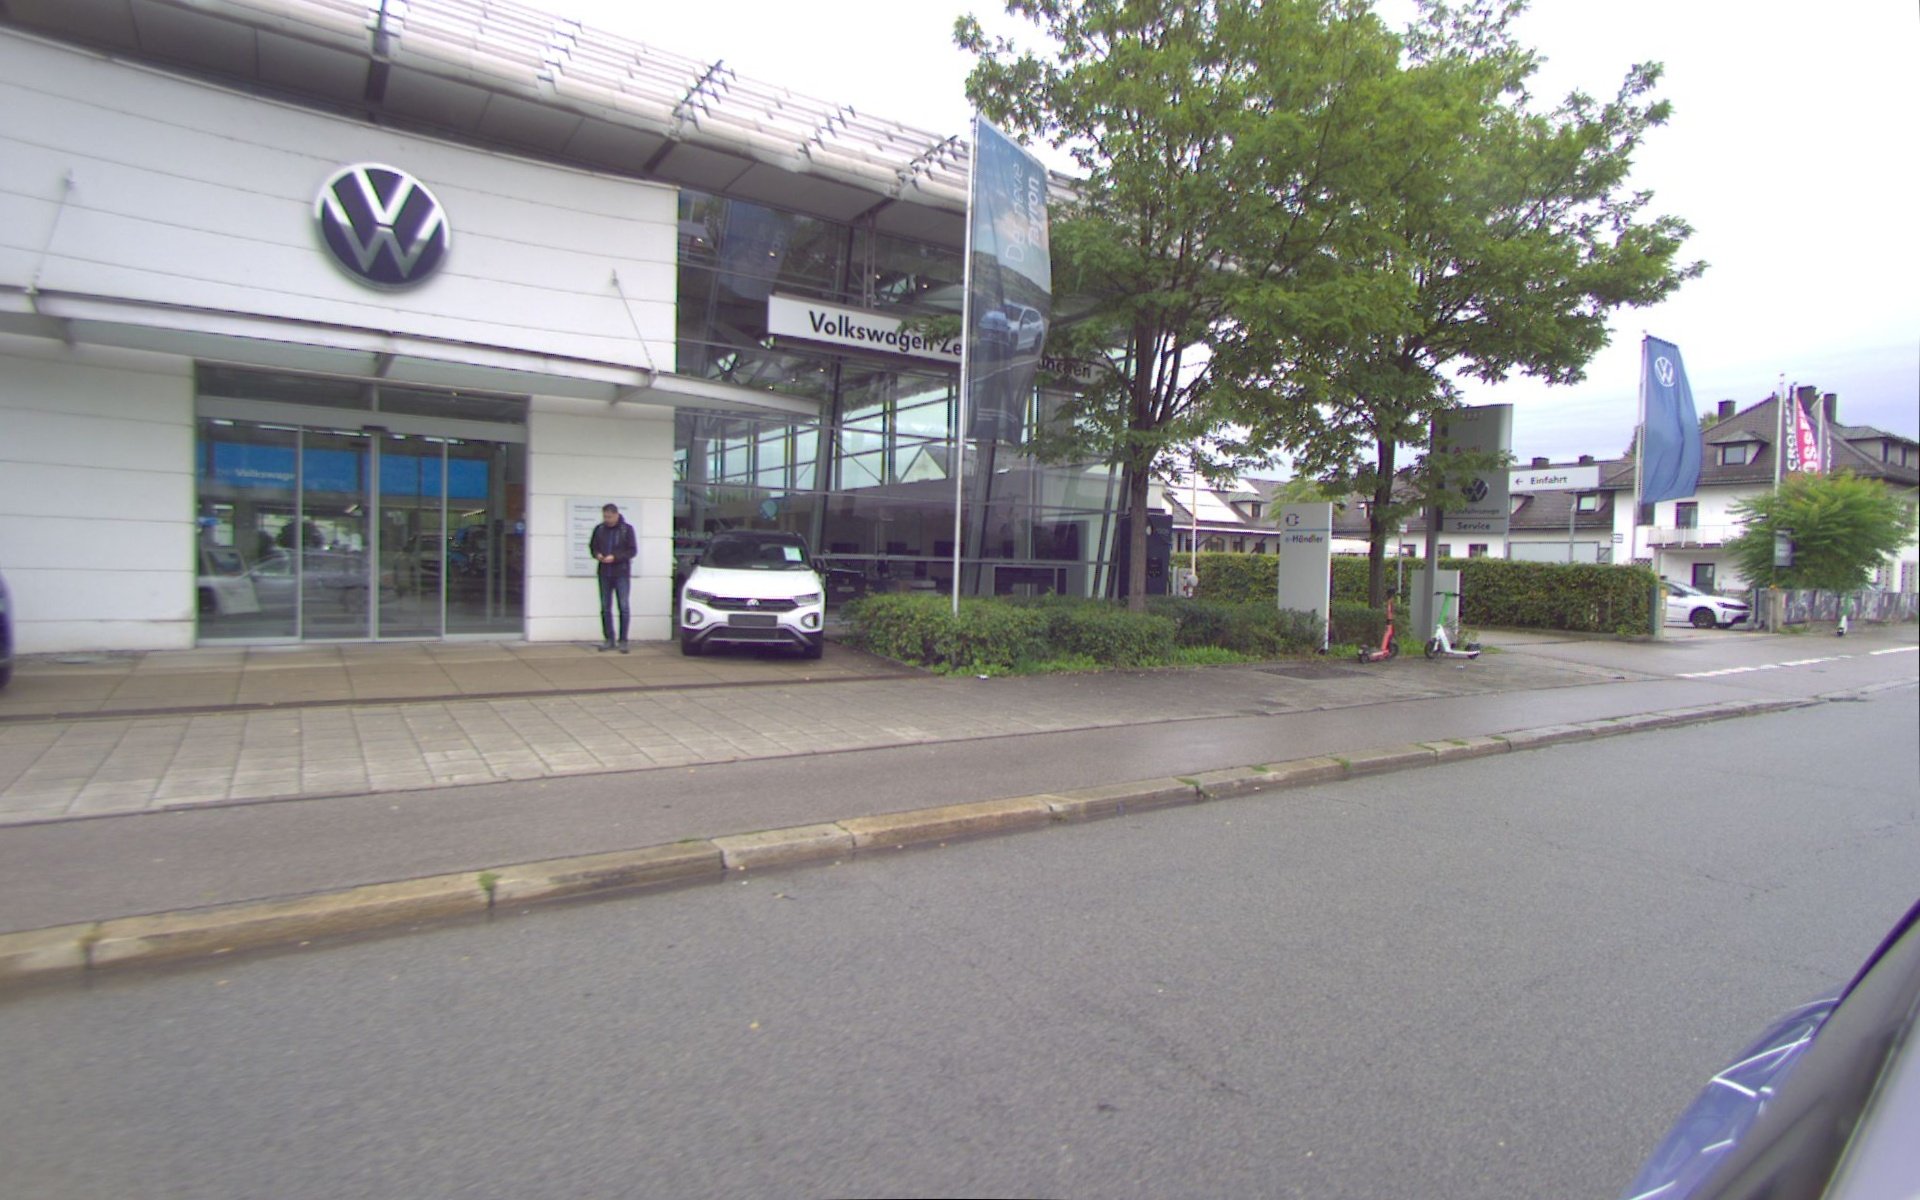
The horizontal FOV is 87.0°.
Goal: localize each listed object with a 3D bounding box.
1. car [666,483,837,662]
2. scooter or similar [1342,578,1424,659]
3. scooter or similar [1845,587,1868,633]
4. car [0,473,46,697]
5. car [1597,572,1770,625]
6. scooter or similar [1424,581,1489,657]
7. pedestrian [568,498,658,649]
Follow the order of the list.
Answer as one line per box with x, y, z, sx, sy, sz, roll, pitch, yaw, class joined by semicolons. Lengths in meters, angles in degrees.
-2.785;-0.461;13.844;1.922;2.037;4.272;1;4;-10;car
6.820;0.285;16.279;1.403;1.219;0.497;1;4;-37;scooter or similar
25.798;0.269;29.118;0.397;1.237;1.615;6;6;42;scooter or similar
-9.650;-0.225;8.507;4.577;1.727;1.983;4;5;36;car
22.460;-0.094;31.557;1.759;1.478;4.029;0;2;-34;car
8.628;0.304;17.569;1.406;1.219;0.496;-2;6;-44;scooter or similar
-4.273;-0.333;12.492;0.794;1.798;0.714;1;1;11;pedestrian
